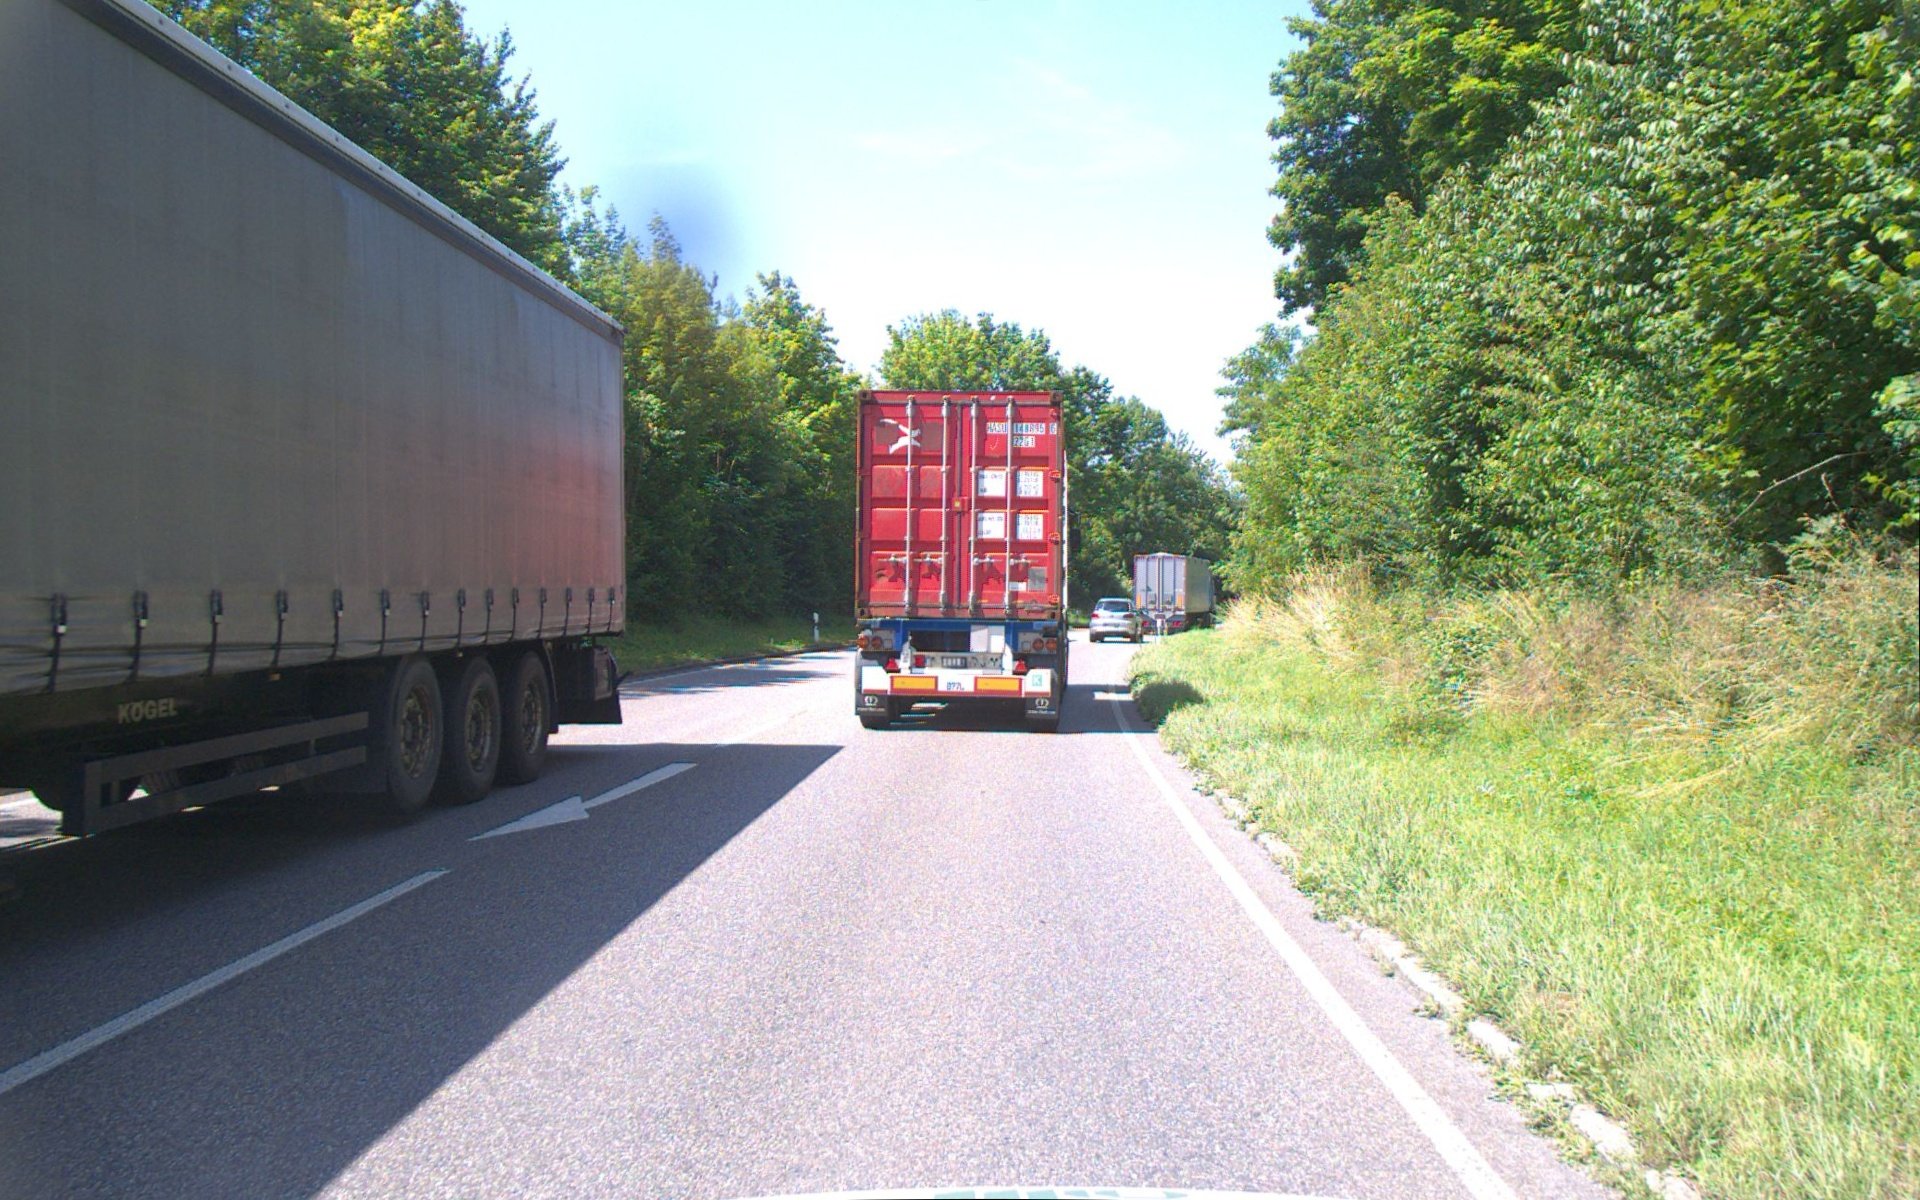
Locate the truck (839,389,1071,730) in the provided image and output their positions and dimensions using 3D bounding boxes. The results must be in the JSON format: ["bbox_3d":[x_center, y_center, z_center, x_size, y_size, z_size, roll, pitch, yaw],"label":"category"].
[{"bbox_3d":[0.387,-0.413,25.586,2.592,3.873,13.365,1,-1,4],"label":"truck"}]

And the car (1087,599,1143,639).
[{"bbox_3d":[6.035,0.742,64.123,1.793,1.458,4.003,-2,-1,10],"label":"car"}]

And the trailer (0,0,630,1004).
[{"bbox_3d":[-4.758,-0.644,9.903,2.861,4.256,11.266,1,-1,2],"label":"trailer"}]

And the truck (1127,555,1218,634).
[{"bbox_3d":[11.303,-0.242,86.719,2.859,3.782,13.368,-2,-1,15],"label":"truck"}]
